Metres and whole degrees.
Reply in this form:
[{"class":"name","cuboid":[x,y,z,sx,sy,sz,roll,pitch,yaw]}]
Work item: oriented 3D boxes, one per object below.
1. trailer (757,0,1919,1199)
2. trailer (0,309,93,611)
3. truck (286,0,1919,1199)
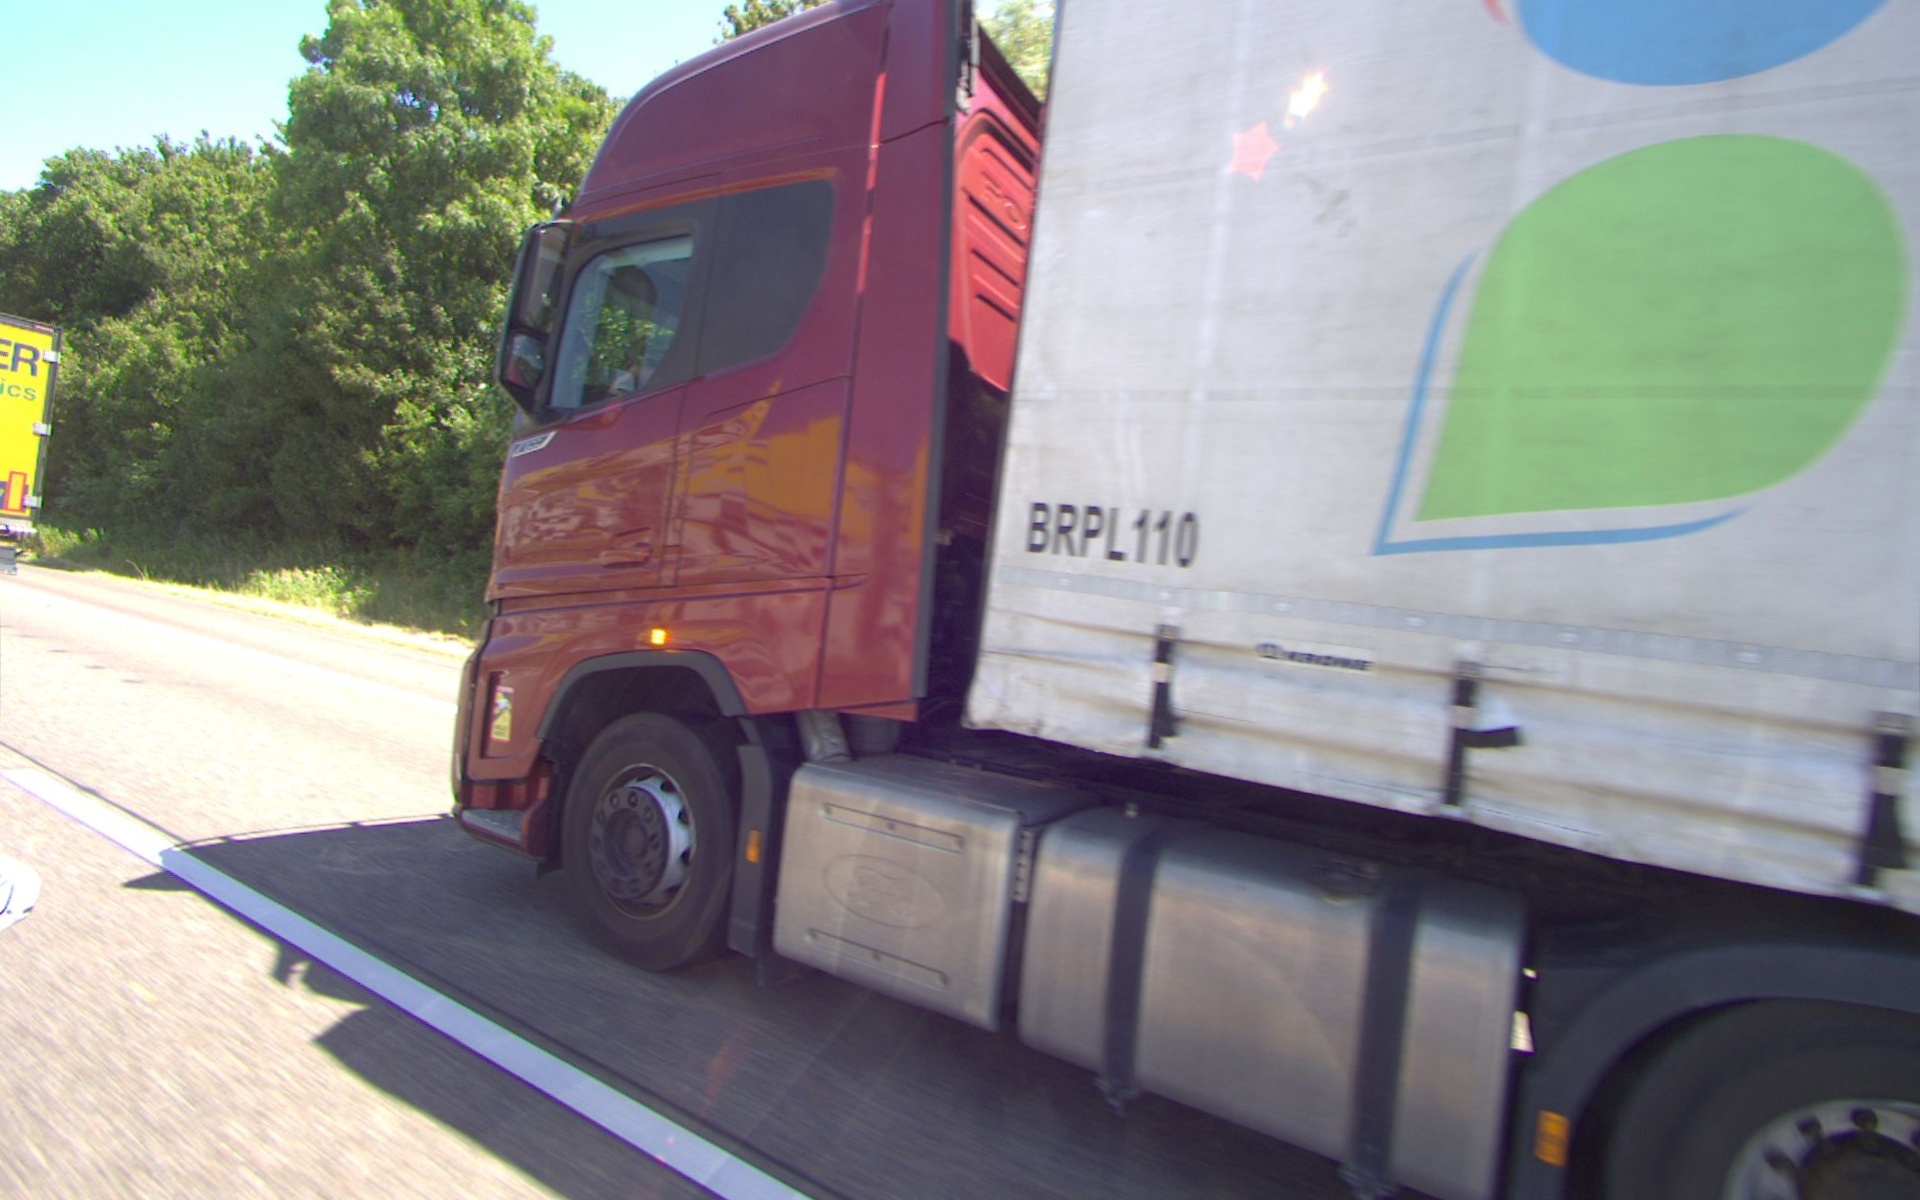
[{"class":"trailer","cuboid":[6.554,0.055,0.574,14.653,4.560,3.110,6,-1,33]},{"class":"trailer","cuboid":[-18.133,-2.522,16.203,11.491,4.002,2.838,7,0,32]},{"class":"truck","cuboid":[0.197,-0.641,4.708,5.954,4.494,3.091,6,-1,33]}]
